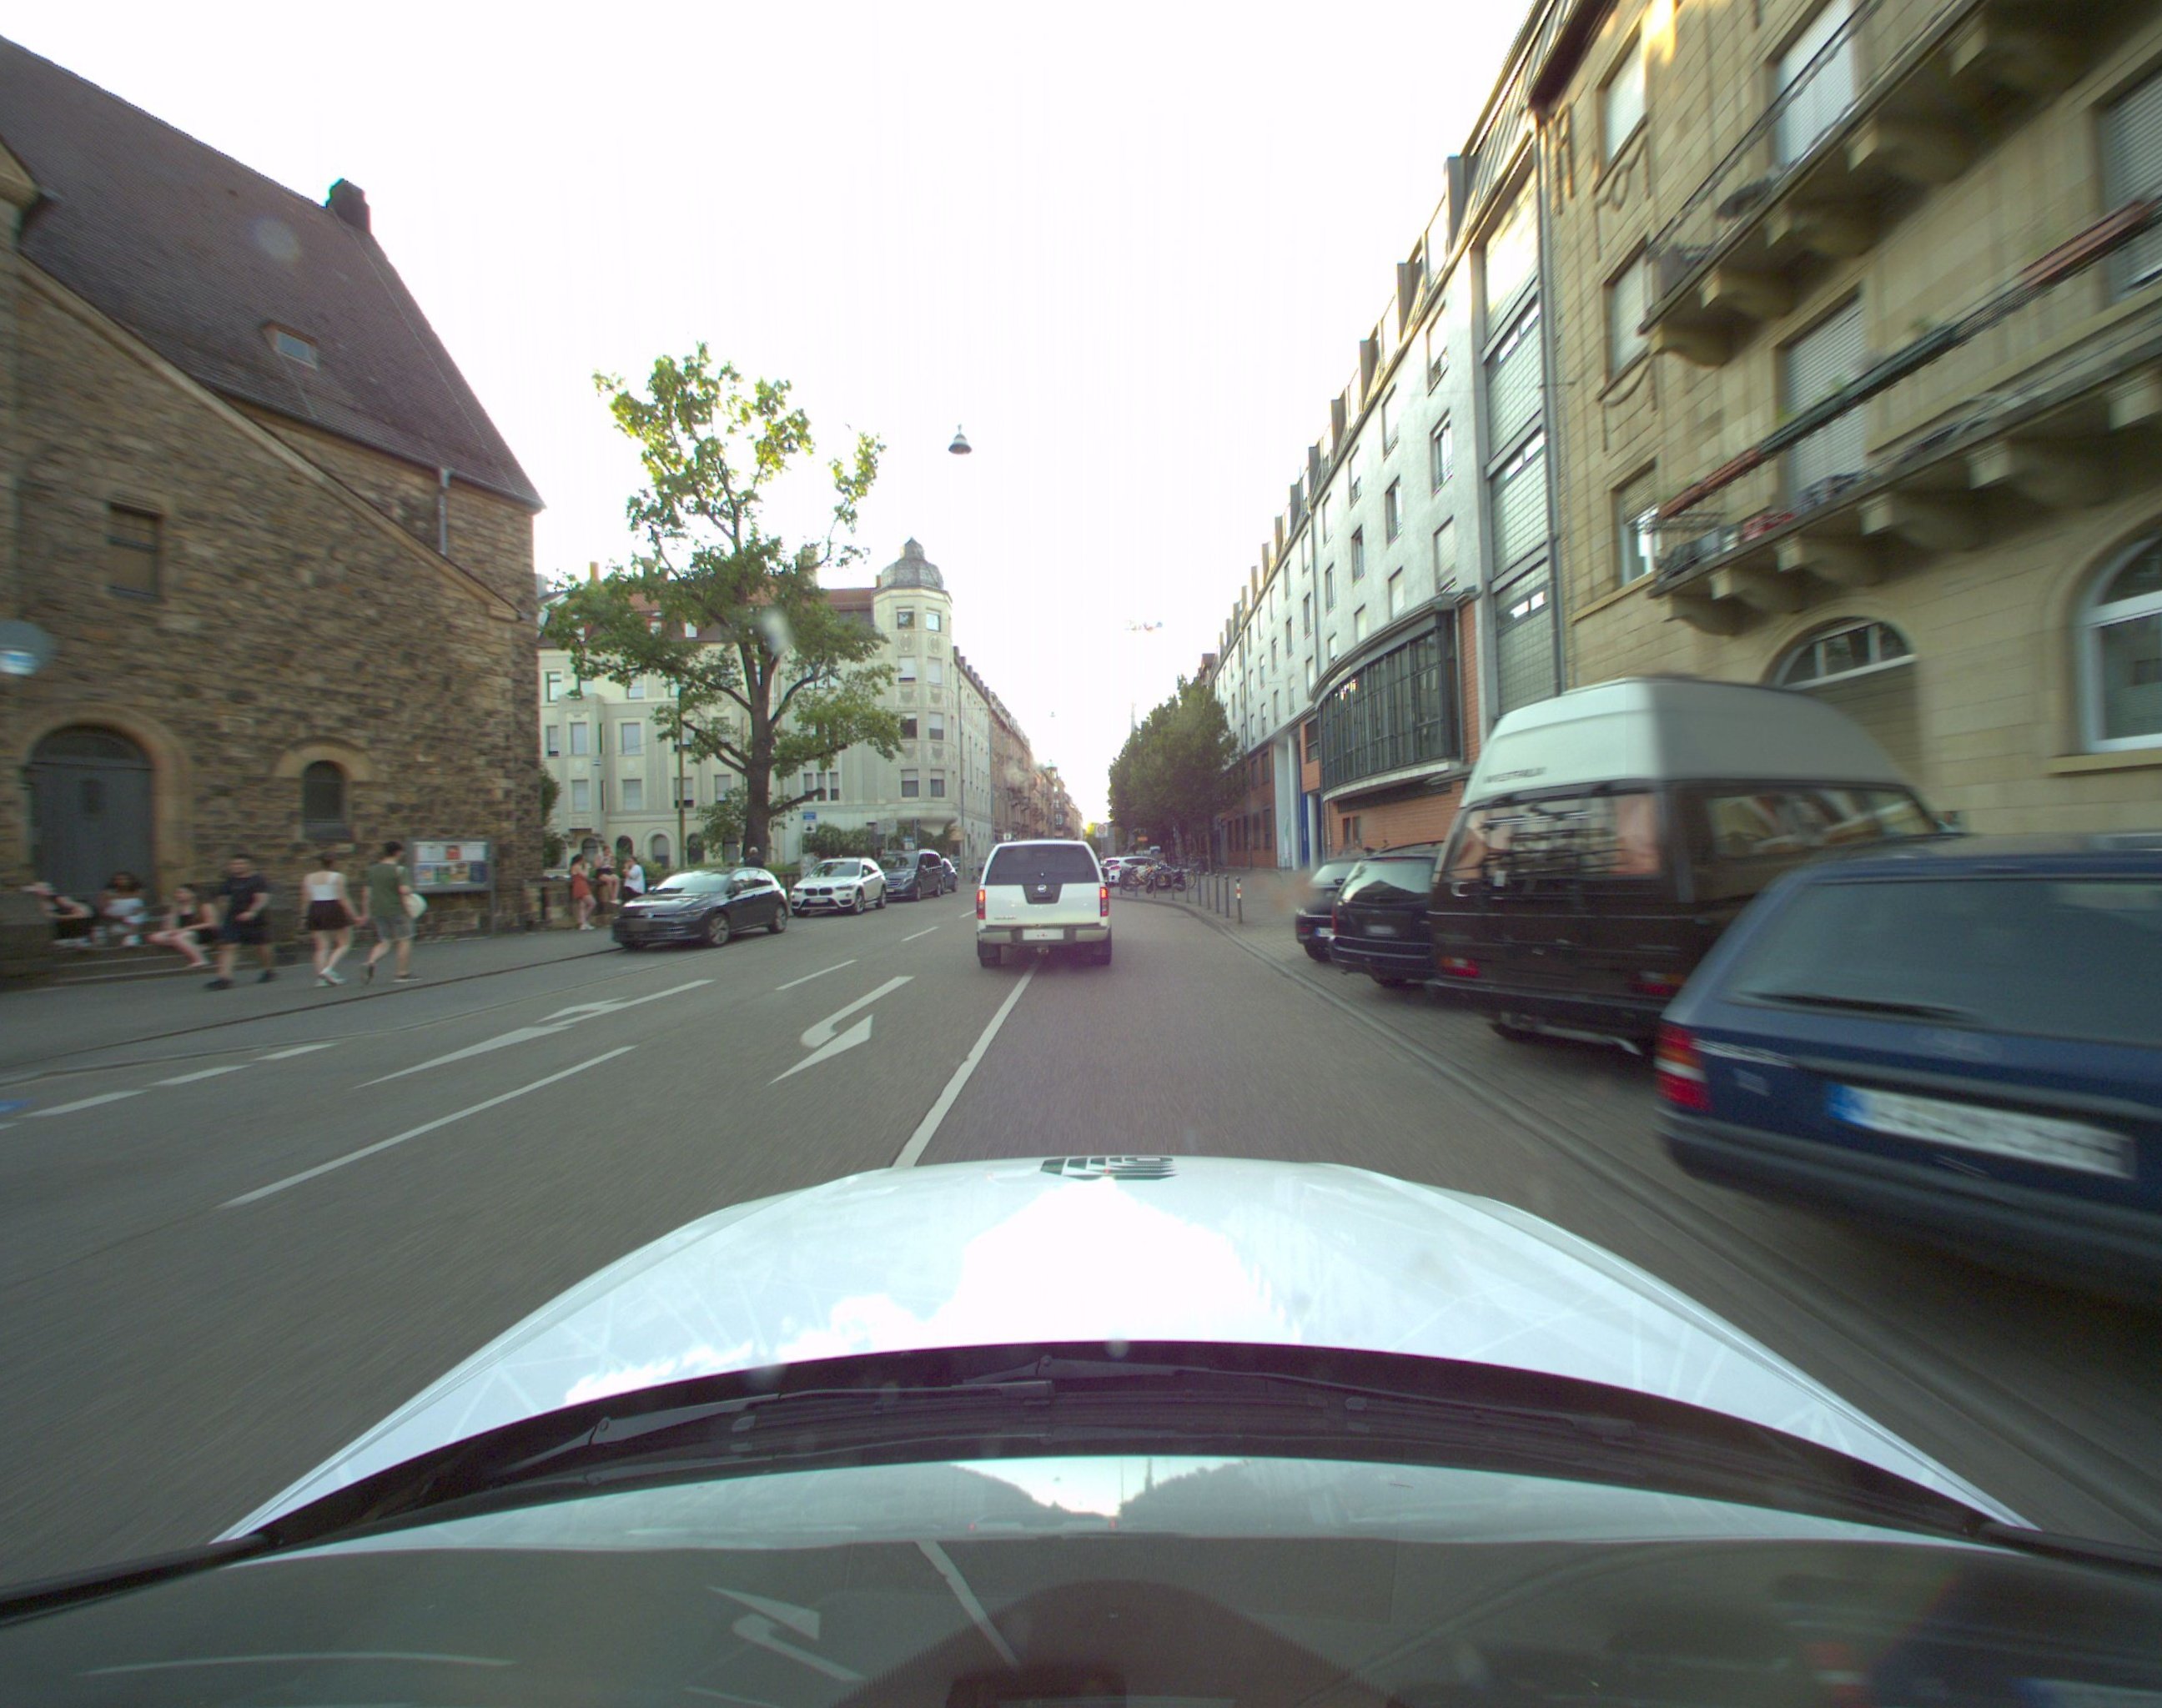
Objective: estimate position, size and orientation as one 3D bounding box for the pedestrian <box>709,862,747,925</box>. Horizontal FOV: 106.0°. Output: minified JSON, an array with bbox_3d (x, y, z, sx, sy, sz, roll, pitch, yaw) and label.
[{"bbox_3d":[-8.959,0.979,20.696,0.580,1.552,0.839,-1,0,-1],"label":"pedestrian"}]

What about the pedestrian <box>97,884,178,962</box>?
[{"bbox_3d":[-13.435,0.973,11.604,0.493,1.048,0.611,-2,0,22],"label":"pedestrian"}]

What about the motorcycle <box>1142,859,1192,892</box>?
[{"bbox_3d":[3.183,0.794,30.206,1.643,1.101,0.645,-4,0,-7],"label":"motorcycle"}]

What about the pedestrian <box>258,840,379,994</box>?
[{"bbox_3d":[-9.667,0.765,10.363,0.571,1.856,0.988,-2,0,-1],"label":"pedestrian"}]

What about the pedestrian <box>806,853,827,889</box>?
[{"bbox_3d":[-12.993,0.813,39.971,0.704,1.721,0.837,-2,-1,0],"label":"pedestrian"}]

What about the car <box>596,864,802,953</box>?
[{"bbox_3d":[-7.266,0.956,16.067,1.775,1.435,4.319,-2,0,3],"label":"car"}]

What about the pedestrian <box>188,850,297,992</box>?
[{"bbox_3d":[-10.783,0.831,10.504,0.716,1.725,0.687,-2,-1,-20],"label":"pedestrian"}]

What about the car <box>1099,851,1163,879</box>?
[{"bbox_3d":[3.116,0.690,50.597,3.618,1.580,1.699,-2,0,-31],"label":"car"}]

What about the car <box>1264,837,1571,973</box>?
[{"bbox_3d":[4.660,0.586,11.160,4.081,1.492,1.707,-2,0,-29],"label":"car"}]

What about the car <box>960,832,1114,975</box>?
[{"bbox_3d":[-0.492,0.601,12.609,1.926,1.794,4.623,-1,1,1],"label":"car"}]

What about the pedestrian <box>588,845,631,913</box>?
[{"bbox_3d":[-10.978,0.579,18.969,0.644,1.545,0.589,-2,-1,25],"label":"pedestrian"}]

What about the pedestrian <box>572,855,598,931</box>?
[{"bbox_3d":[-11.168,0.865,18.325,0.417,1.674,0.542,-1,-1,-38],"label":"pedestrian"}]

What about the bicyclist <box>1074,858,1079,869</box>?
[{"bbox_3d":[-0.700,1.649,139.922,0.798,1.849,0.943,-1,-1,0],"label":"bicyclist"}]

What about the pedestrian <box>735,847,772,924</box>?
[{"bbox_3d":[-8.333,0.793,20.760,0.580,1.905,0.802,-2,0,-1],"label":"pedestrian"}]

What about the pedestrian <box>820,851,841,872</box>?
[{"bbox_3d":[-12.287,0.365,39.944,0.704,0.980,0.837,-2,0,0],"label":"pedestrian"}]

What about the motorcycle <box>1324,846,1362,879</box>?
[{"bbox_3d":[9.384,0.317,29.279,0.586,1.103,2.083,-5,0,-1],"label":"motorcycle"}]

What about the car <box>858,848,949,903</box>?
[{"bbox_3d":[-6.651,0.768,31.196,1.985,1.866,5.294,-2,0,3],"label":"car"}]

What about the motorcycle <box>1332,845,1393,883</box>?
[{"bbox_3d":[9.243,0.333,26.868,0.775,1.139,2.407,-3,0,-11],"label":"motorcycle"}]

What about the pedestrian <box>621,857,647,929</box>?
[{"bbox_3d":[-10.304,0.897,18.764,0.417,1.622,0.542,-1,-1,-38],"label":"pedestrian"}]

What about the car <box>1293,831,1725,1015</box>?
[{"bbox_3d":[4.646,0.578,8.778,4.365,1.502,1.897,-2,0,-26],"label":"car"}]

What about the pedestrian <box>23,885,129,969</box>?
[{"bbox_3d":[-13.397,0.955,10.877,0.741,1.048,0.515,-1,0,-28],"label":"pedestrian"}]

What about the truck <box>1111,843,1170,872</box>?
[{"bbox_3d":[6.499,0.426,89.420,6.294,2.977,2.265,-1,-3,3],"label":"truck"}]

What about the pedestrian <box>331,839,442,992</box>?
[{"bbox_3d":[-9.003,0.767,10.594,0.645,1.879,0.891,-2,0,-1],"label":"pedestrian"}]

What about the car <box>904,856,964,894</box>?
[{"bbox_3d":[-6.481,0.903,36.326,1.633,1.555,4.008,-2,0,4],"label":"car"}]

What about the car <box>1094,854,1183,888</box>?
[{"bbox_3d":[2.838,0.821,39.983,4.010,1.506,1.754,-2,0,-28],"label":"car"}]

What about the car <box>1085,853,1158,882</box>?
[{"bbox_3d":[2.419,0.761,47.858,4.011,1.537,1.620,-2,0,-29],"label":"car"}]

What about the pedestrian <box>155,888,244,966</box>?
[{"bbox_3d":[-12.682,1.037,11.732,0.512,1.056,0.703,-2,-1,19],"label":"pedestrian"}]

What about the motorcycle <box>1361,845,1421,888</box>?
[{"bbox_3d":[9.027,0.336,23.812,0.797,1.139,2.441,-4,0,1],"label":"motorcycle"}]

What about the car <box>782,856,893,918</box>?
[{"bbox_3d":[-7.038,0.905,24.078,1.865,1.592,4.468,-2,0,0],"label":"car"}]

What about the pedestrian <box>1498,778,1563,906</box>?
[{"bbox_3d":[7.367,-0.196,13.382,0.604,2.013,0.858,1,0,3],"label":"pedestrian"}]
